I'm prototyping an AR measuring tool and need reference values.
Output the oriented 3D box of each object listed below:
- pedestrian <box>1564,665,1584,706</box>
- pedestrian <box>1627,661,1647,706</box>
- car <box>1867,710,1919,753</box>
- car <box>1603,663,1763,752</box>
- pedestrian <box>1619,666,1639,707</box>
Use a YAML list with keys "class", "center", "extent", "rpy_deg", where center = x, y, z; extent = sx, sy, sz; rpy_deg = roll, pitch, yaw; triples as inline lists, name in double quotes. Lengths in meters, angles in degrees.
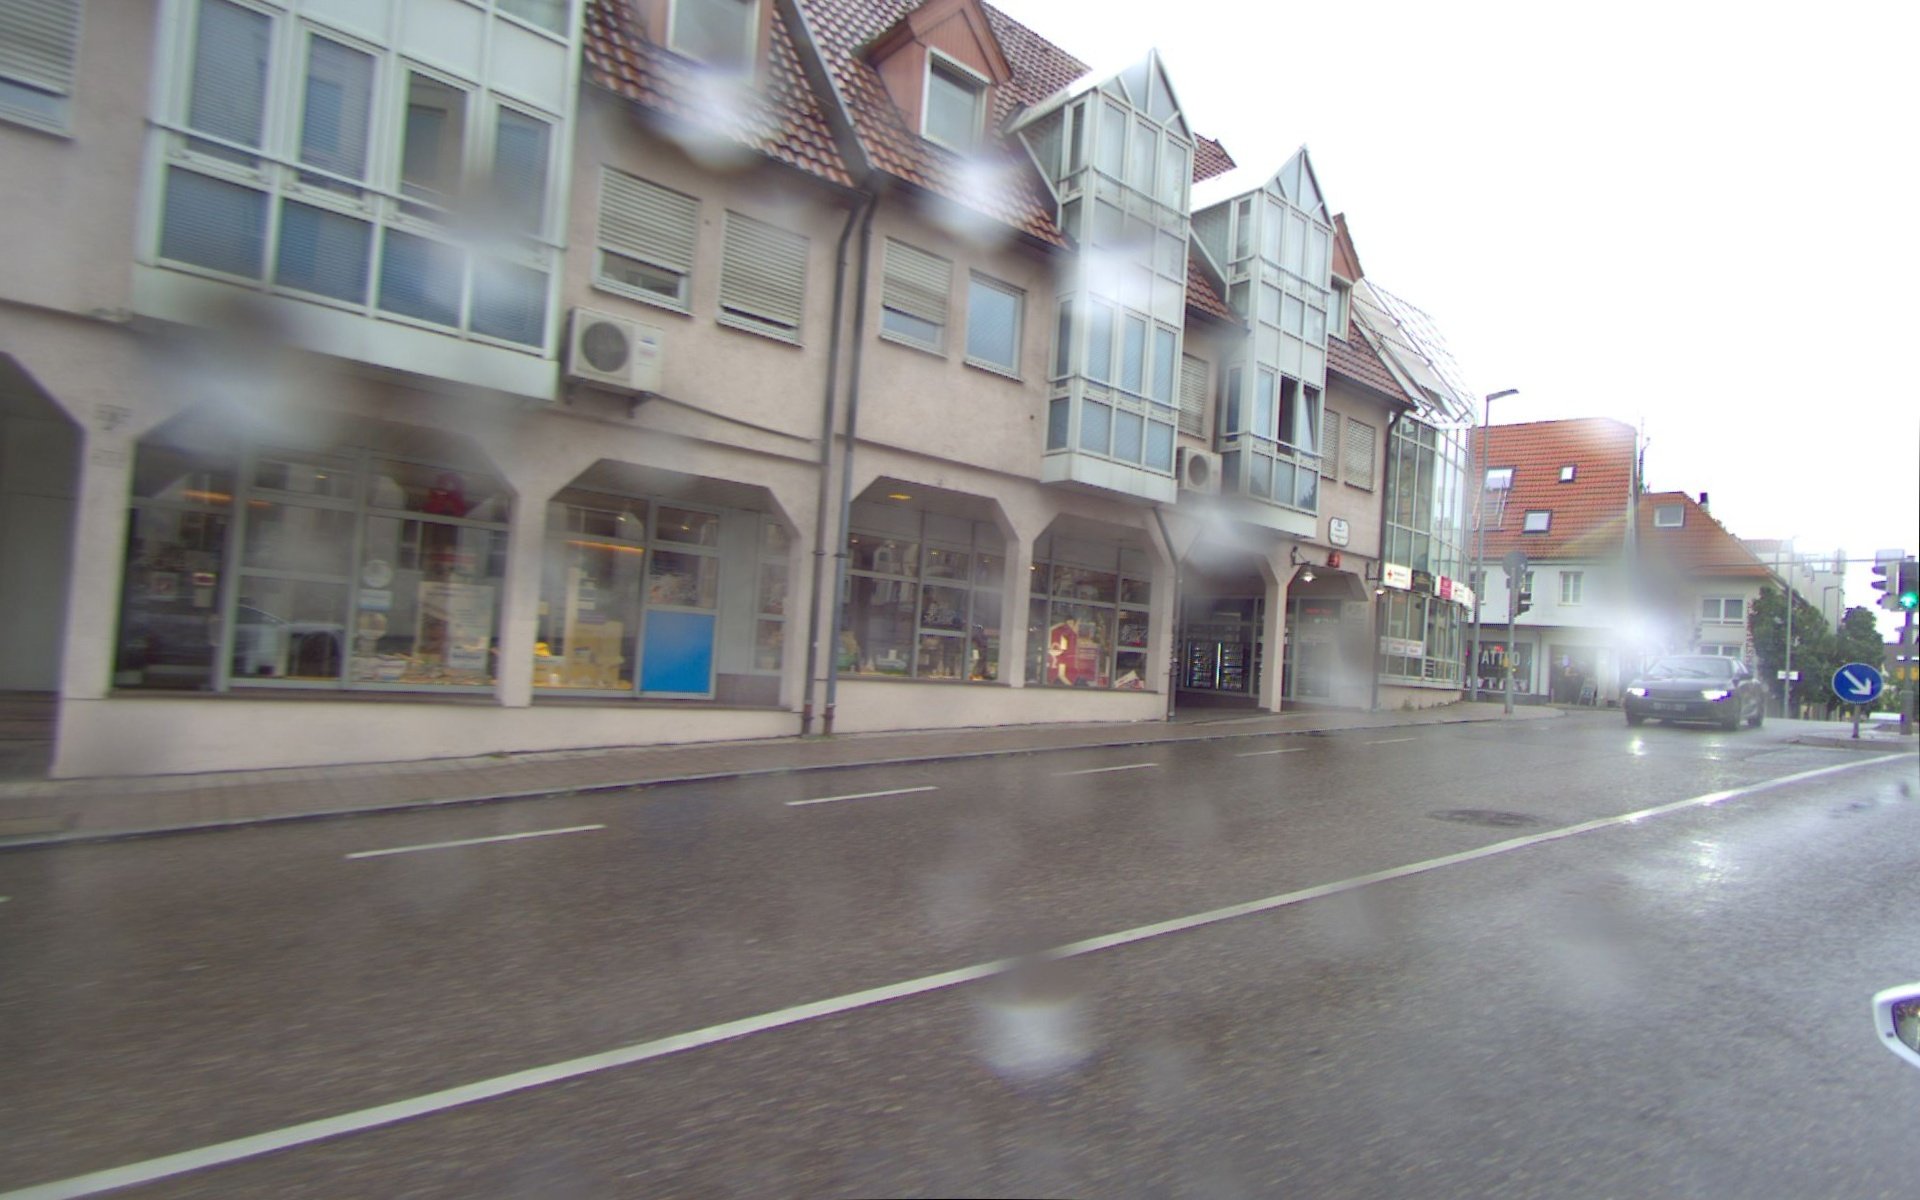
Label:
- class: "pedestrian"
  center: [24.597, 3.413, 40.236]
  extent: [0.585, 1.579, 0.631]
  rpy_deg: [-1, -4, 40]
- class: "pedestrian"
  center: [27.463, 3.373, 40.751]
  extent: [0.585, 1.797, 0.631]
  rpy_deg: [-1, -4, 40]
- class: "car"
  center: [63.976, 8.888, 68.478]
  extent: [6.512, 2.660, 2.564]
  rpy_deg: [5, -5, -43]
- class: "car"
  center: [14.520, 2.055, 20.101]
  extent: [3.972, 1.486, 1.869]
  rpy_deg: [2, -3, -43]
- class: "pedestrian"
  center: [26.413, 3.421, 39.671]
  extent: [0.585, 1.579, 0.631]
  rpy_deg: [-1, -4, 40]
